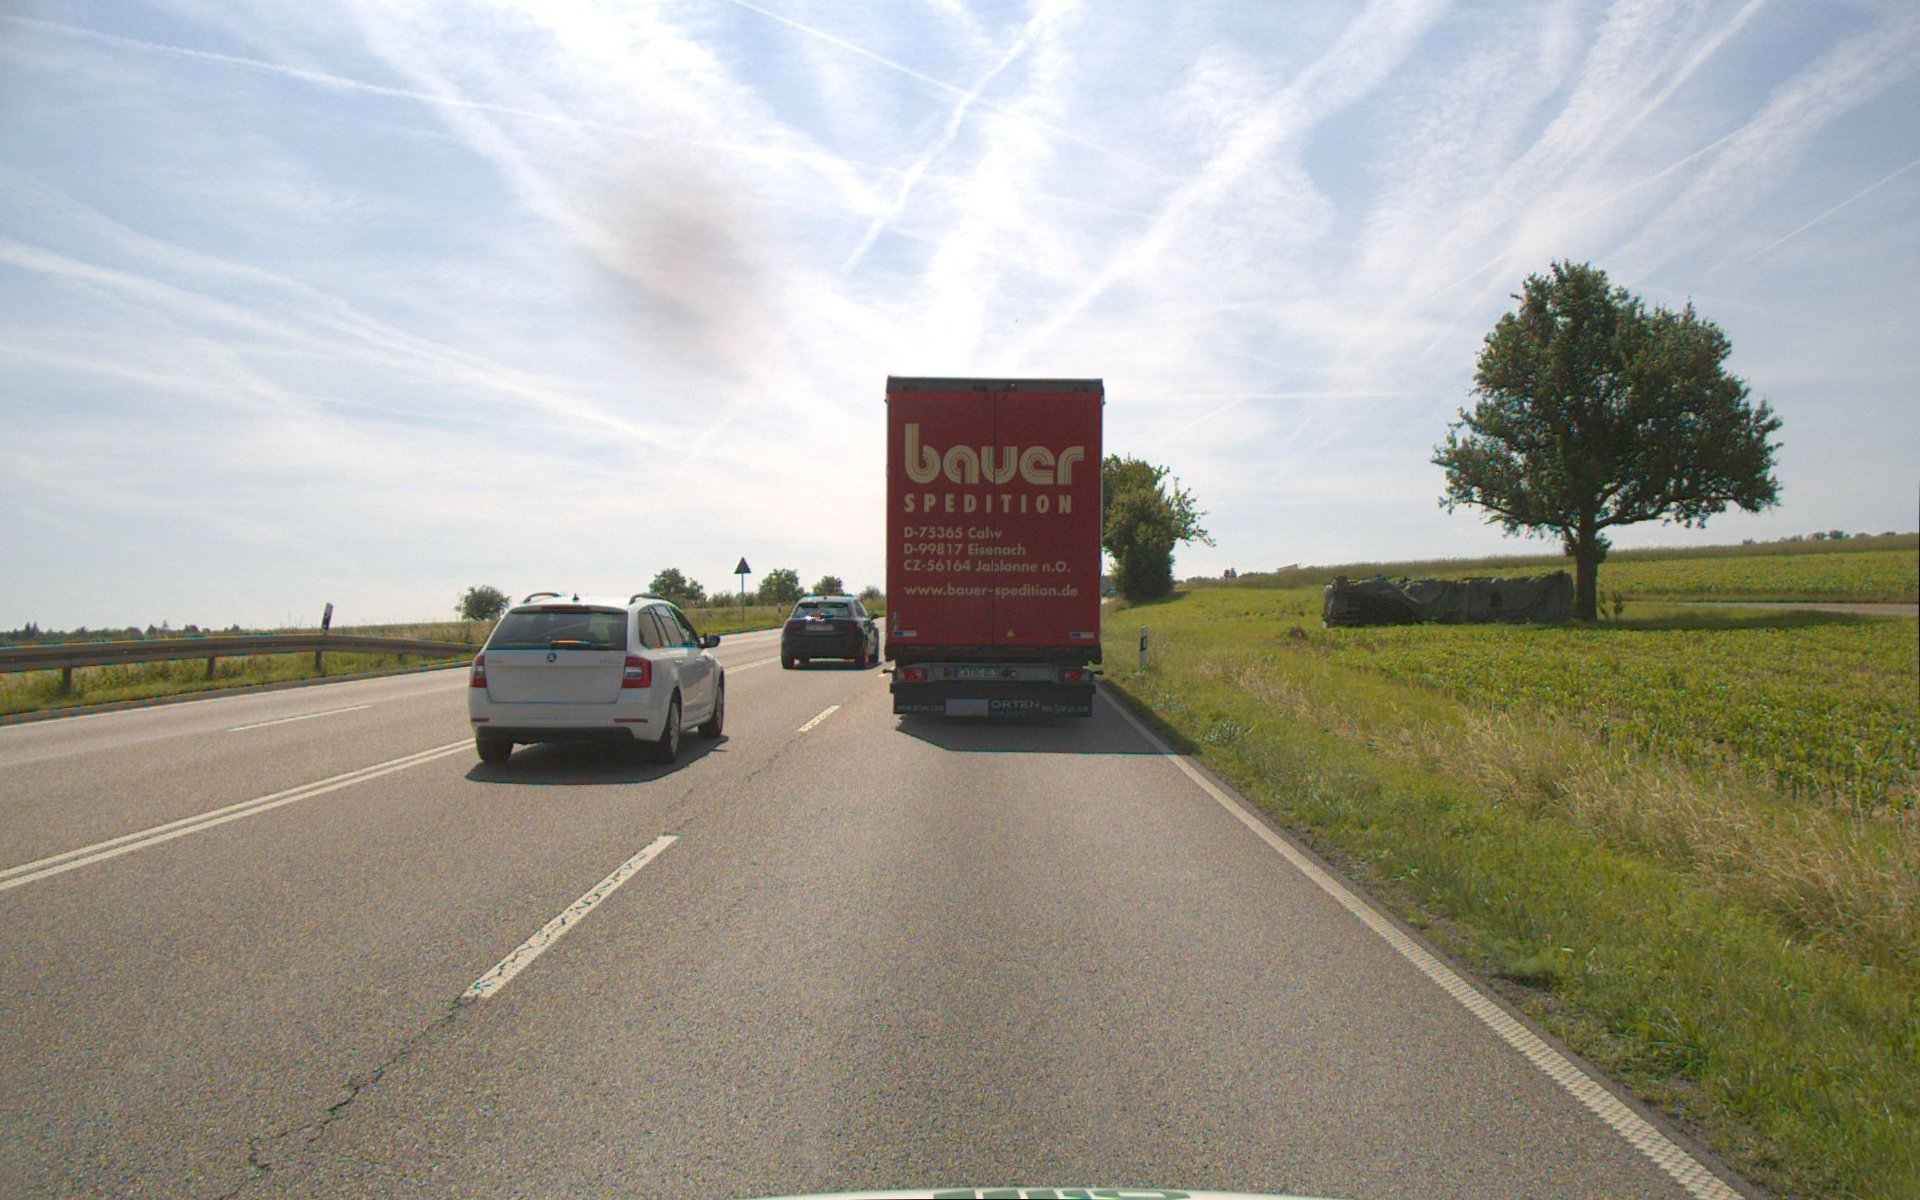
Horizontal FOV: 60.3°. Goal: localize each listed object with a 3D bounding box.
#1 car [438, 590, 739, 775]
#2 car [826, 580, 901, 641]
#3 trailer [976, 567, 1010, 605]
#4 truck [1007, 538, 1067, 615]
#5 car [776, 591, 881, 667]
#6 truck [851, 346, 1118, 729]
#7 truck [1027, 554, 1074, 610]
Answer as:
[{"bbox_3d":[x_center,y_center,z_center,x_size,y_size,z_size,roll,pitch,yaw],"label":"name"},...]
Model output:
[{"bbox_3d":[-3.356,0.664,15.928,1.783,1.498,4.789,1,0,0],"label":"car"},{"bbox_3d":[-3.132,0.343,54.572,1.865,1.917,5.434,0,0,3],"label":"car"},{"bbox_3d":[3.933,-1.643,193.703,2.491,4.173,13.594,-1,0,7],"label":"trailer"},{"bbox_3d":[4.491,-1.239,93.762,2.983,3.978,15.623,0,0,4],"label":"truck"},{"bbox_3d":[-2.734,0.576,35.283,1.669,1.498,4.812,0,0,2],"label":"car"},{"bbox_3d":[0.492,-0.708,26.925,2.945,4.253,16.717,1,0,1],"label":"truck"},{"bbox_3d":[7.124,-1.343,127.444,2.982,3.978,18.409,0,0,5],"label":"truck"}]
